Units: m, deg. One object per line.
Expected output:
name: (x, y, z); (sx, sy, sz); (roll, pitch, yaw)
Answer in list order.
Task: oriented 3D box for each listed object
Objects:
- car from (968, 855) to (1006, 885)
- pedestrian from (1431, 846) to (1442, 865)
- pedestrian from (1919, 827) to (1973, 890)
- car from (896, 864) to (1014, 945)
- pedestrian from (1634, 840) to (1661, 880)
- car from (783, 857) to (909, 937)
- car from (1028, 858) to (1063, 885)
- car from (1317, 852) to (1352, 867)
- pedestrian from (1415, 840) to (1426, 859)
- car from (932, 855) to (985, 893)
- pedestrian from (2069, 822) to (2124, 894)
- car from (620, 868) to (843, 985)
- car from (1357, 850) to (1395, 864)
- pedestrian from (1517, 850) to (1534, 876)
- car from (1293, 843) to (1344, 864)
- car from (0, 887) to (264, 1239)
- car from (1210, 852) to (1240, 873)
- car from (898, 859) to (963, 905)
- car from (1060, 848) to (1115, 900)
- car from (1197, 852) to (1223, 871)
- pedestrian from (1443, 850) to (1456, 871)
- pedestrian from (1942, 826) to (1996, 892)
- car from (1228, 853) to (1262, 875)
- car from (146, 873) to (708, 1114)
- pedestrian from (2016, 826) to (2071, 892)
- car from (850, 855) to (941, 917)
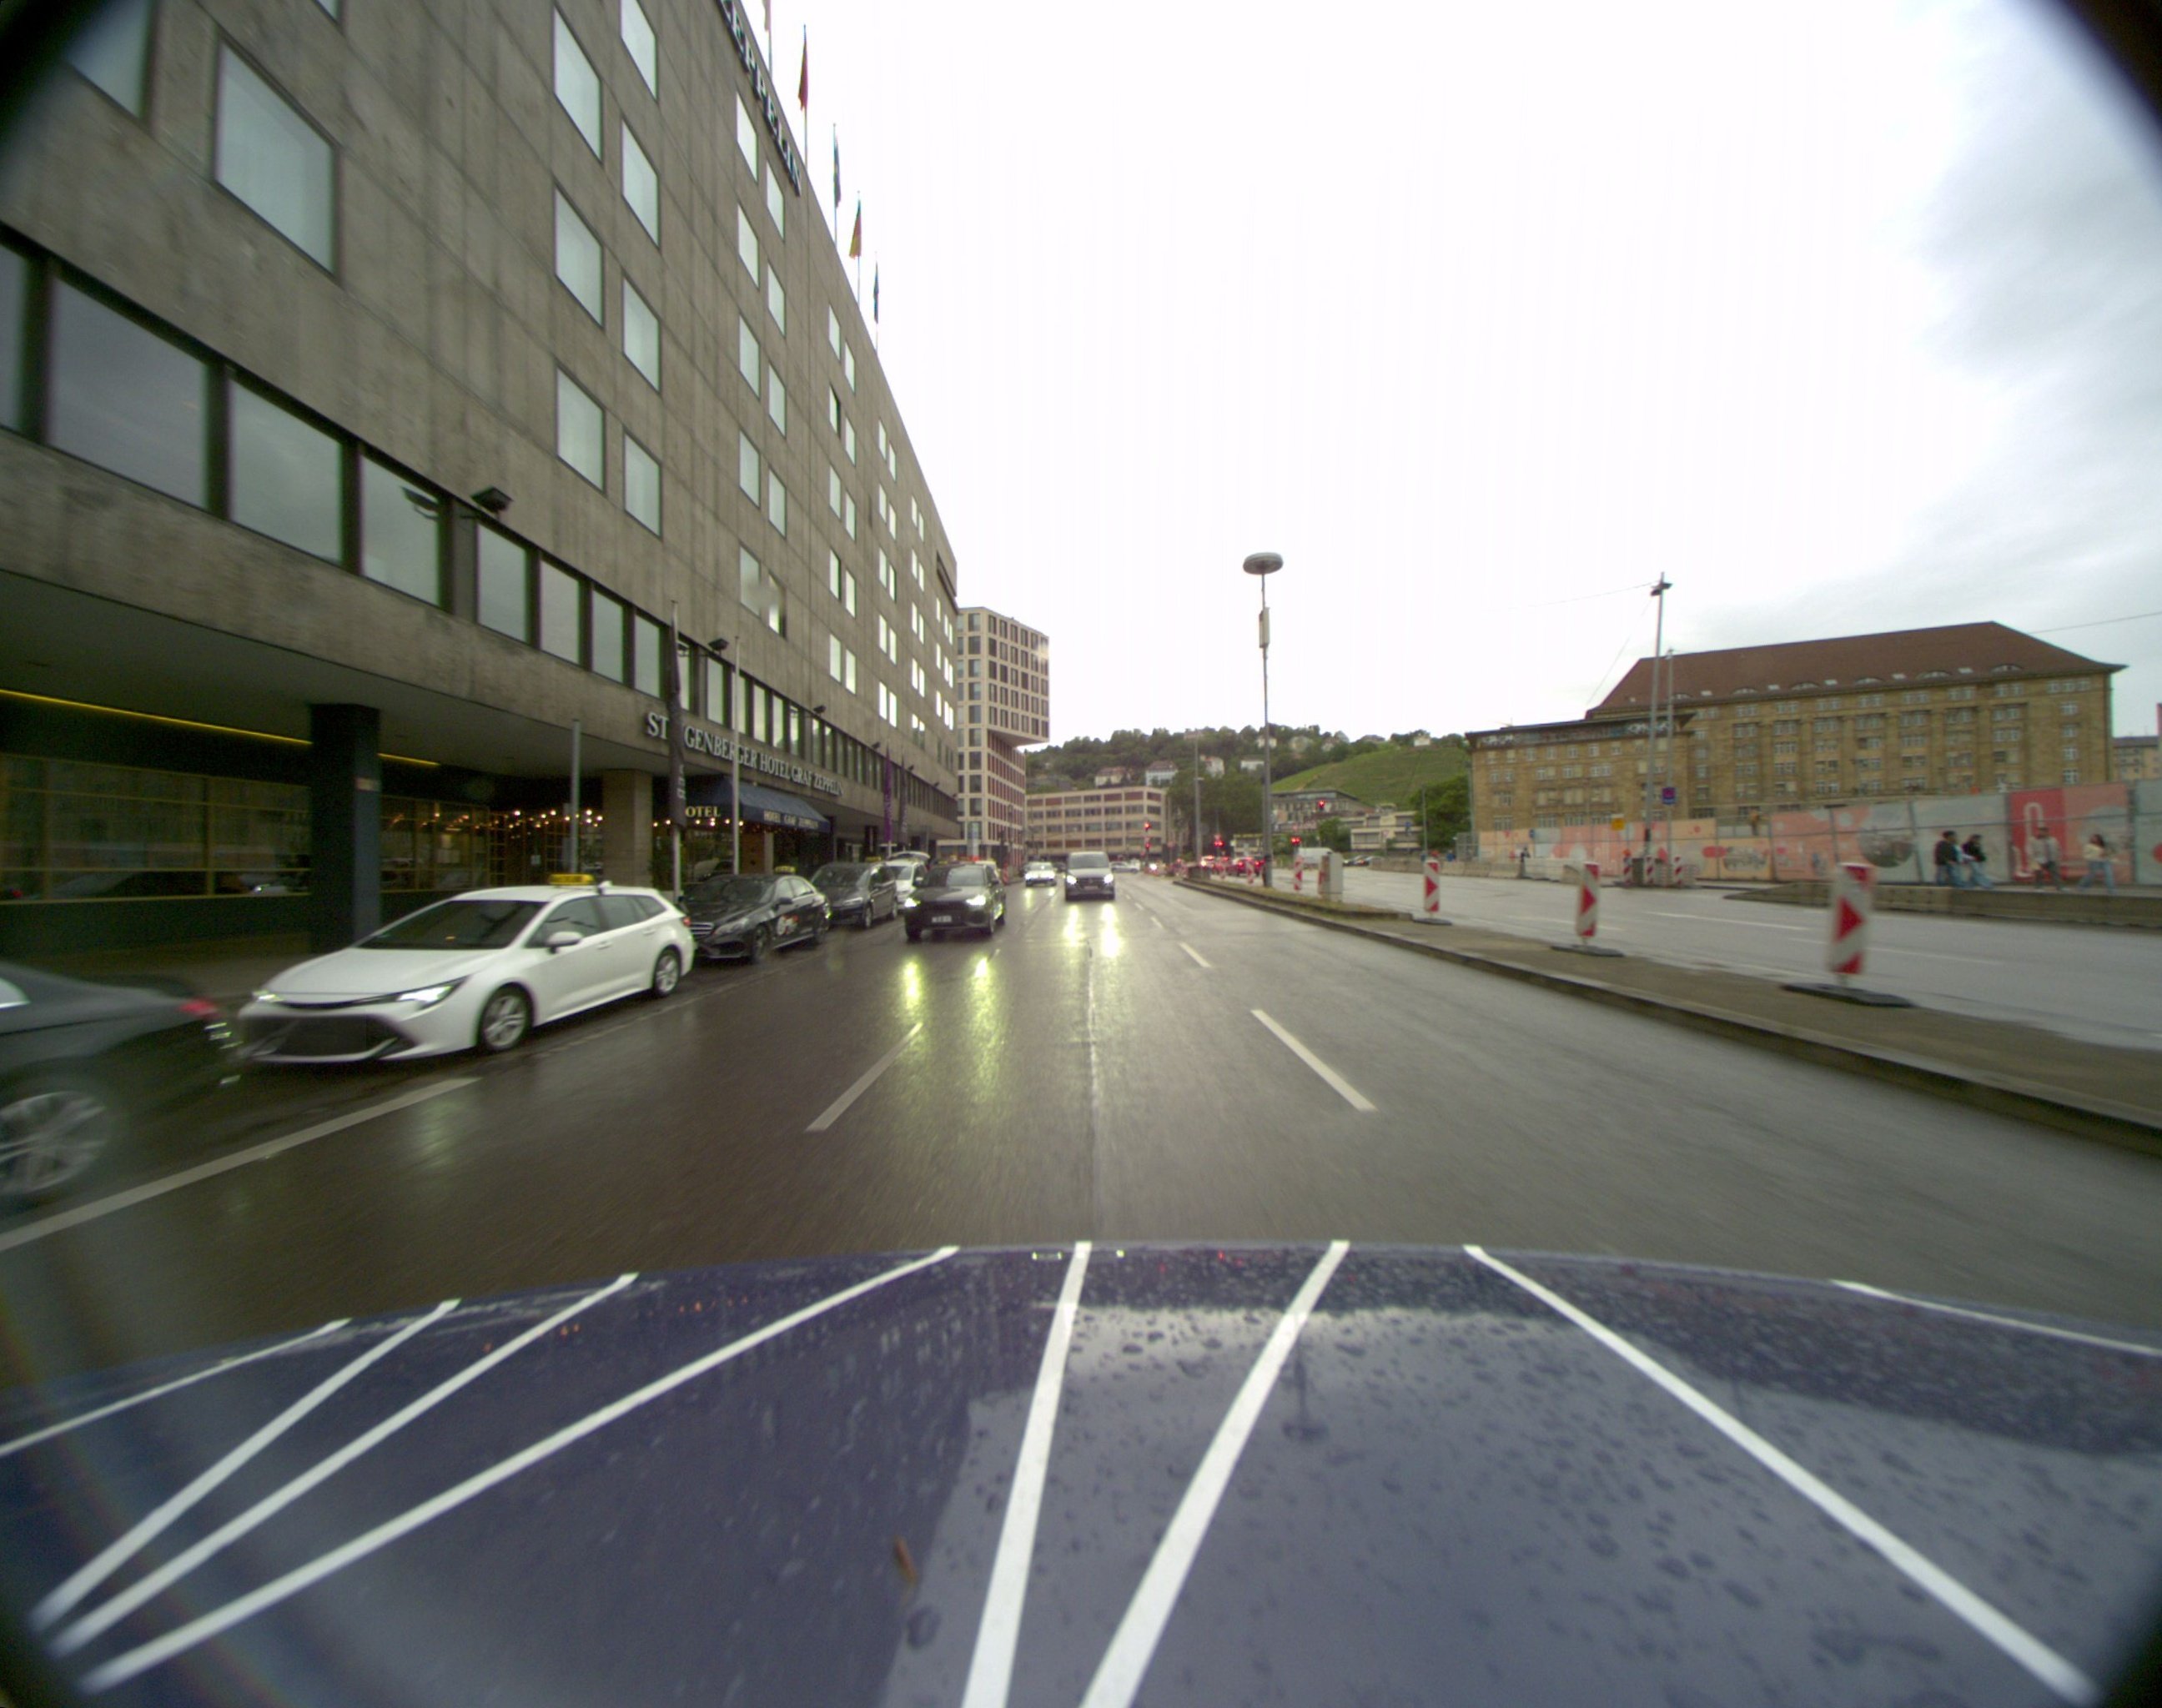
car: (-5.685, 0.948, 46.305); (1.731, 1.604, 4.001); (-2, 1, 1)
pedestrian: (31.533, 0.143, 67.451); (0.715, 1.606, 0.544); (-2, 1, 1)
pedestrian: (24.047, 0.121, 21.128); (0.714, 1.723, 0.718); (-2, 1, 20)
car: (-2.780, 1.059, 17.773); (1.883, 1.493, 4.342); (-2, 1, 2)
pedestrian: (26.685, 0.276, 35.799); (0.664, 1.825, 0.720); (-2, 1, 1)
car: (-6.019, 1.009, 20.102); (1.731, 1.732, 4.814); (-2, 1, 1)
car: (-2.177, 1.082, 47.303); (1.898, 1.477, 4.000); (-2, 1, 1)
car: (34.803, 0.768, 104.390); (4.194, 1.846, 1.832); (-2, 1, 6)
pedestrian: (30.044, -0.386, 67.178); (0.715, 1.606, 0.544); (-2, 1, 1)
car: (-5.727, 0.909, 35.984); (1.731, 1.604, 4.001); (-2, 1, 1)
pedestrian: (26.477, 0.098, 19.818); (0.661, 1.825, 0.556); (-2, 1, 21)
car: (-6.055, 1.140, 13.931); (1.731, 1.583, 4.814); (-2, 1, 1)
car: (34.766, 0.341, 89.716); (3.993, 1.622, 2.002); (-1, 0, 14)
pedestrian: (27.809, 0.568, 47.523); (0.715, 1.606, 0.544); (-2, 1, 1)
car: (26.931, -0.083, 86.260); (5.243, 2.224, 2.001); (-2, 1, 6)
car: (-6.167, 1.082, 2.389); (1.879, 1.628, 4.814); (-2, 1, 1)
car: (12.637, 0.734, 66.913); (1.785, 1.684, 3.916); (-2, 1, -1)
car: (-6.016, 1.066, 30.808); (1.731, 1.604, 4.001); (-2, 1, 1)
car: (0.297, 0.734, 31.038); (1.998, 1.849, 5.160); (-2, 1, 1)
car: (12.425, 0.685, 73.404); (1.785, 1.684, 3.916); (-2, 1, -1)
pedestrian: (28.990, 0.492, 59.724); (0.715, 1.606, 0.544); (-2, 1, 1)
pedestrian: (25.109, 0.131, 21.506); (0.714, 1.825, 0.718); (-2, 1, 20)
car: (12.749, 0.754, 59.202); (1.785, 1.684, 3.916); (-1, 0, 1)
car: (-6.094, 1.116, 8.116); (1.731, 1.583, 4.814); (-2, 1, 1)
pedestrian: (25.768, 0.132, 20.356); (0.714, 1.734, 0.564); (-2, 1, 21)
car: (-6.020, 0.963, 25.299); (1.731, 1.732, 4.814); (-2, 1, 1)
